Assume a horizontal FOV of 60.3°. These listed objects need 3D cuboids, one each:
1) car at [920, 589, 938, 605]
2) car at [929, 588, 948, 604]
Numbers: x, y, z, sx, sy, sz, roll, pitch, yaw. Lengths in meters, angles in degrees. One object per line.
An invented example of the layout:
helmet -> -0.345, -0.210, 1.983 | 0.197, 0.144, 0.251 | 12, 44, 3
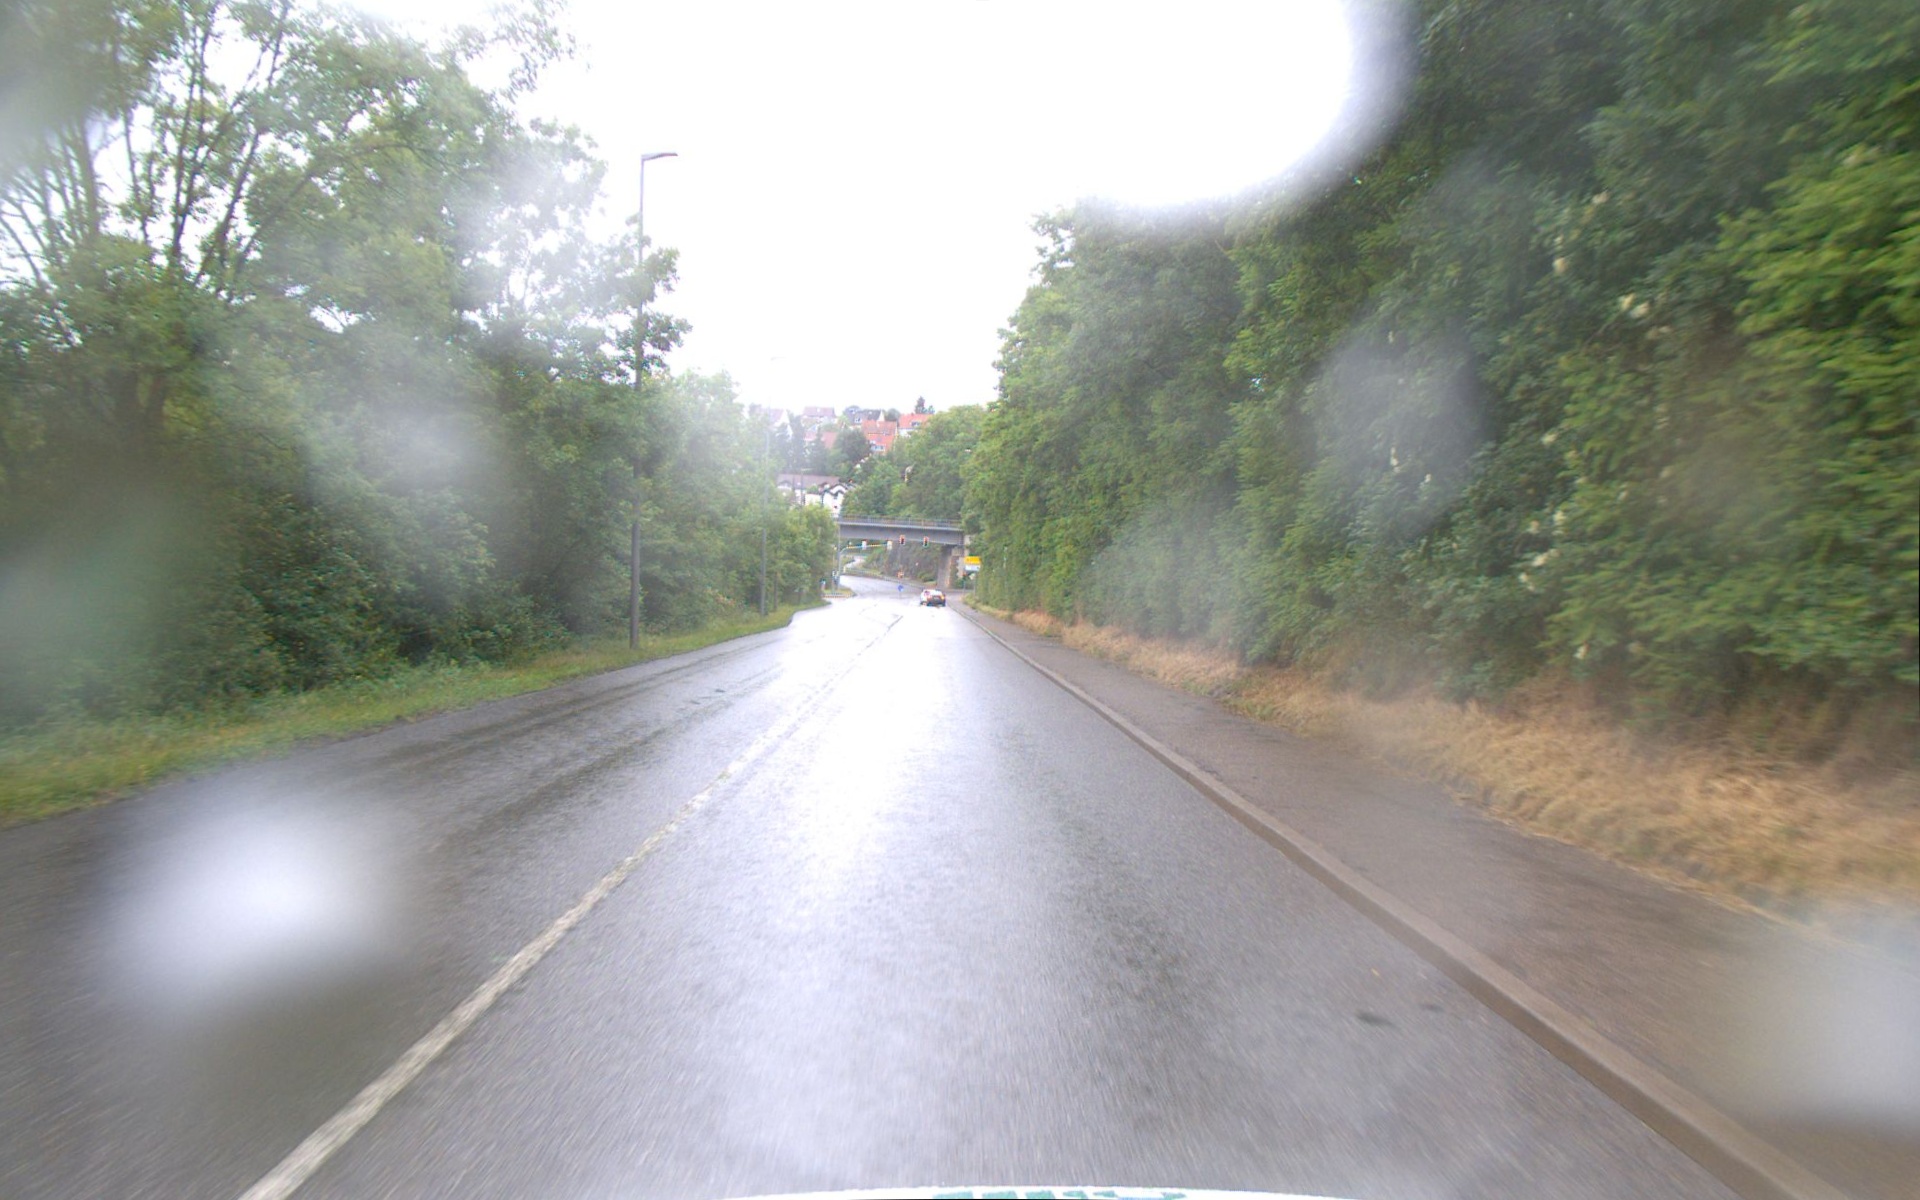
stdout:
car -> -3.078, -0.292, 163.044 | 1.732, 1.590, 3.999 | 1, 0, -1
car -> -1.995, -0.377, 156.397 | 1.732, 1.404, 3.999 | 1, 0, -1
